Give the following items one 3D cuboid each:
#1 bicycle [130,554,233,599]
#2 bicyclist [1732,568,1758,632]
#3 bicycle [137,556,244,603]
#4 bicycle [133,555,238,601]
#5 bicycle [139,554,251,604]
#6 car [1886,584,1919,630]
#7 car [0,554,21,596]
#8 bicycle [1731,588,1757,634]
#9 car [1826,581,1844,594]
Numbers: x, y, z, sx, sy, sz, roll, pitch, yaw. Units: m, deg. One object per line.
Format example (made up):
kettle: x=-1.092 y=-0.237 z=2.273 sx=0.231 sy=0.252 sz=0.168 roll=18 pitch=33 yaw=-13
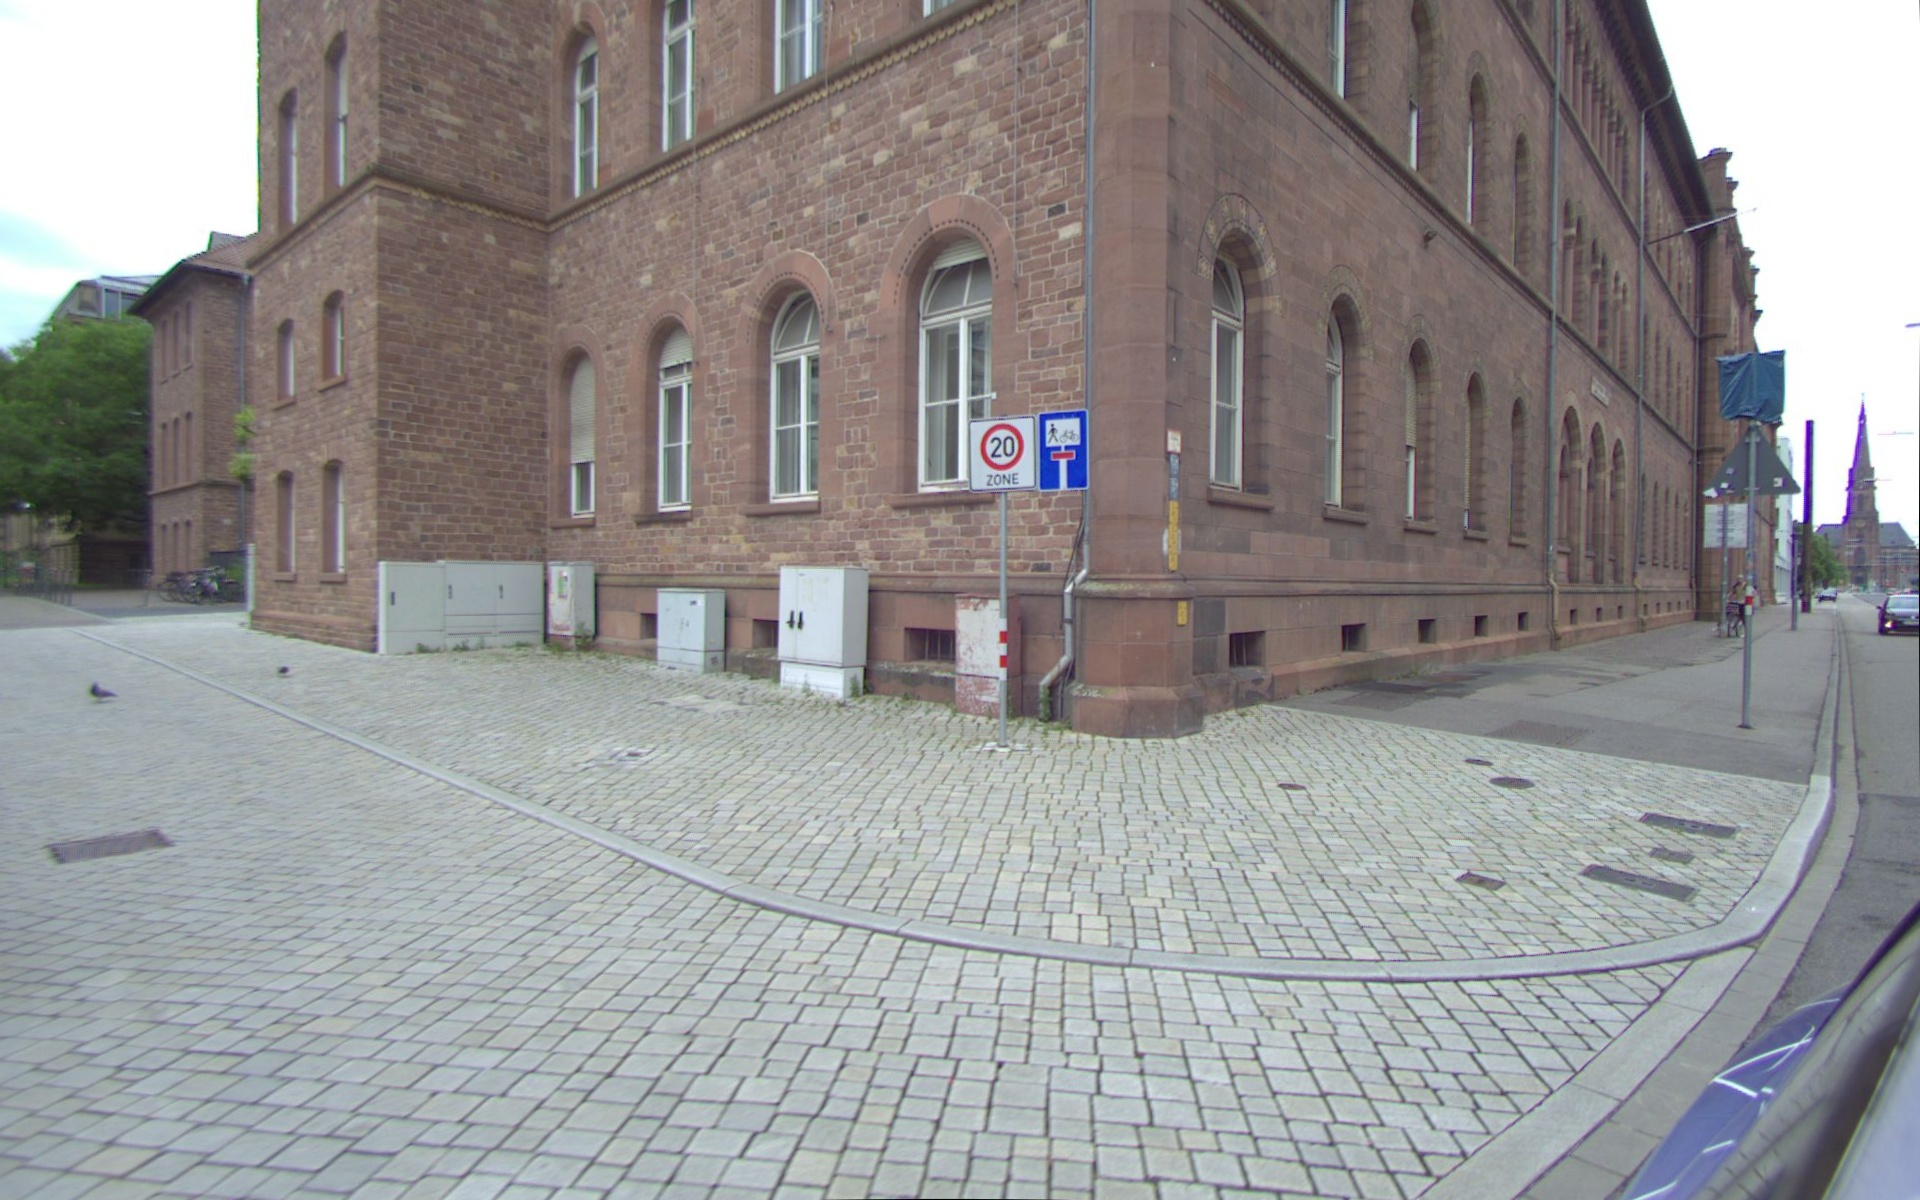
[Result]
bicycle: x=-25.095 y=-0.760 z=32.659 sx=2.613 sy=1.415 sz=0.589 roll=-1 pitch=2 yaw=-40
bicyclist: x=23.397 y=-0.011 z=30.162 sx=0.528 sy=1.881 sz=0.444 roll=2 pitch=2 yaw=41
bicycle: x=-23.733 y=-0.631 z=31.251 sx=2.613 sy=1.415 sz=0.589 roll=-1 pitch=2 yaw=-40
bicycle: x=-24.404 y=-0.695 z=31.916 sx=2.613 sy=1.415 sz=0.589 roll=-1 pitch=2 yaw=-40
bicycle: x=-22.378 y=-0.607 z=29.649 sx=2.613 sy=1.415 sz=0.589 roll=-1 pitch=2 yaw=-40
car: x=34.428 y=0.206 z=36.222 sx=1.740 sy=1.566 sz=3.598 roll=0 pitch=1 yaw=40
car: x=-37.975 y=-0.933 z=39.406 sx=3.982 sy=1.582 sz=1.776 roll=0 pitch=1 yaw=43
bicycle: x=23.355 y=0.295 z=30.137 sx=0.445 sy=1.292 sz=2.194 roll=3 pitch=3 yaw=41
car: x=120.977 y=-1.765 z=139.913 sx=1.829 sy=1.683 sz=3.940 roll=0 pitch=1 yaw=41
